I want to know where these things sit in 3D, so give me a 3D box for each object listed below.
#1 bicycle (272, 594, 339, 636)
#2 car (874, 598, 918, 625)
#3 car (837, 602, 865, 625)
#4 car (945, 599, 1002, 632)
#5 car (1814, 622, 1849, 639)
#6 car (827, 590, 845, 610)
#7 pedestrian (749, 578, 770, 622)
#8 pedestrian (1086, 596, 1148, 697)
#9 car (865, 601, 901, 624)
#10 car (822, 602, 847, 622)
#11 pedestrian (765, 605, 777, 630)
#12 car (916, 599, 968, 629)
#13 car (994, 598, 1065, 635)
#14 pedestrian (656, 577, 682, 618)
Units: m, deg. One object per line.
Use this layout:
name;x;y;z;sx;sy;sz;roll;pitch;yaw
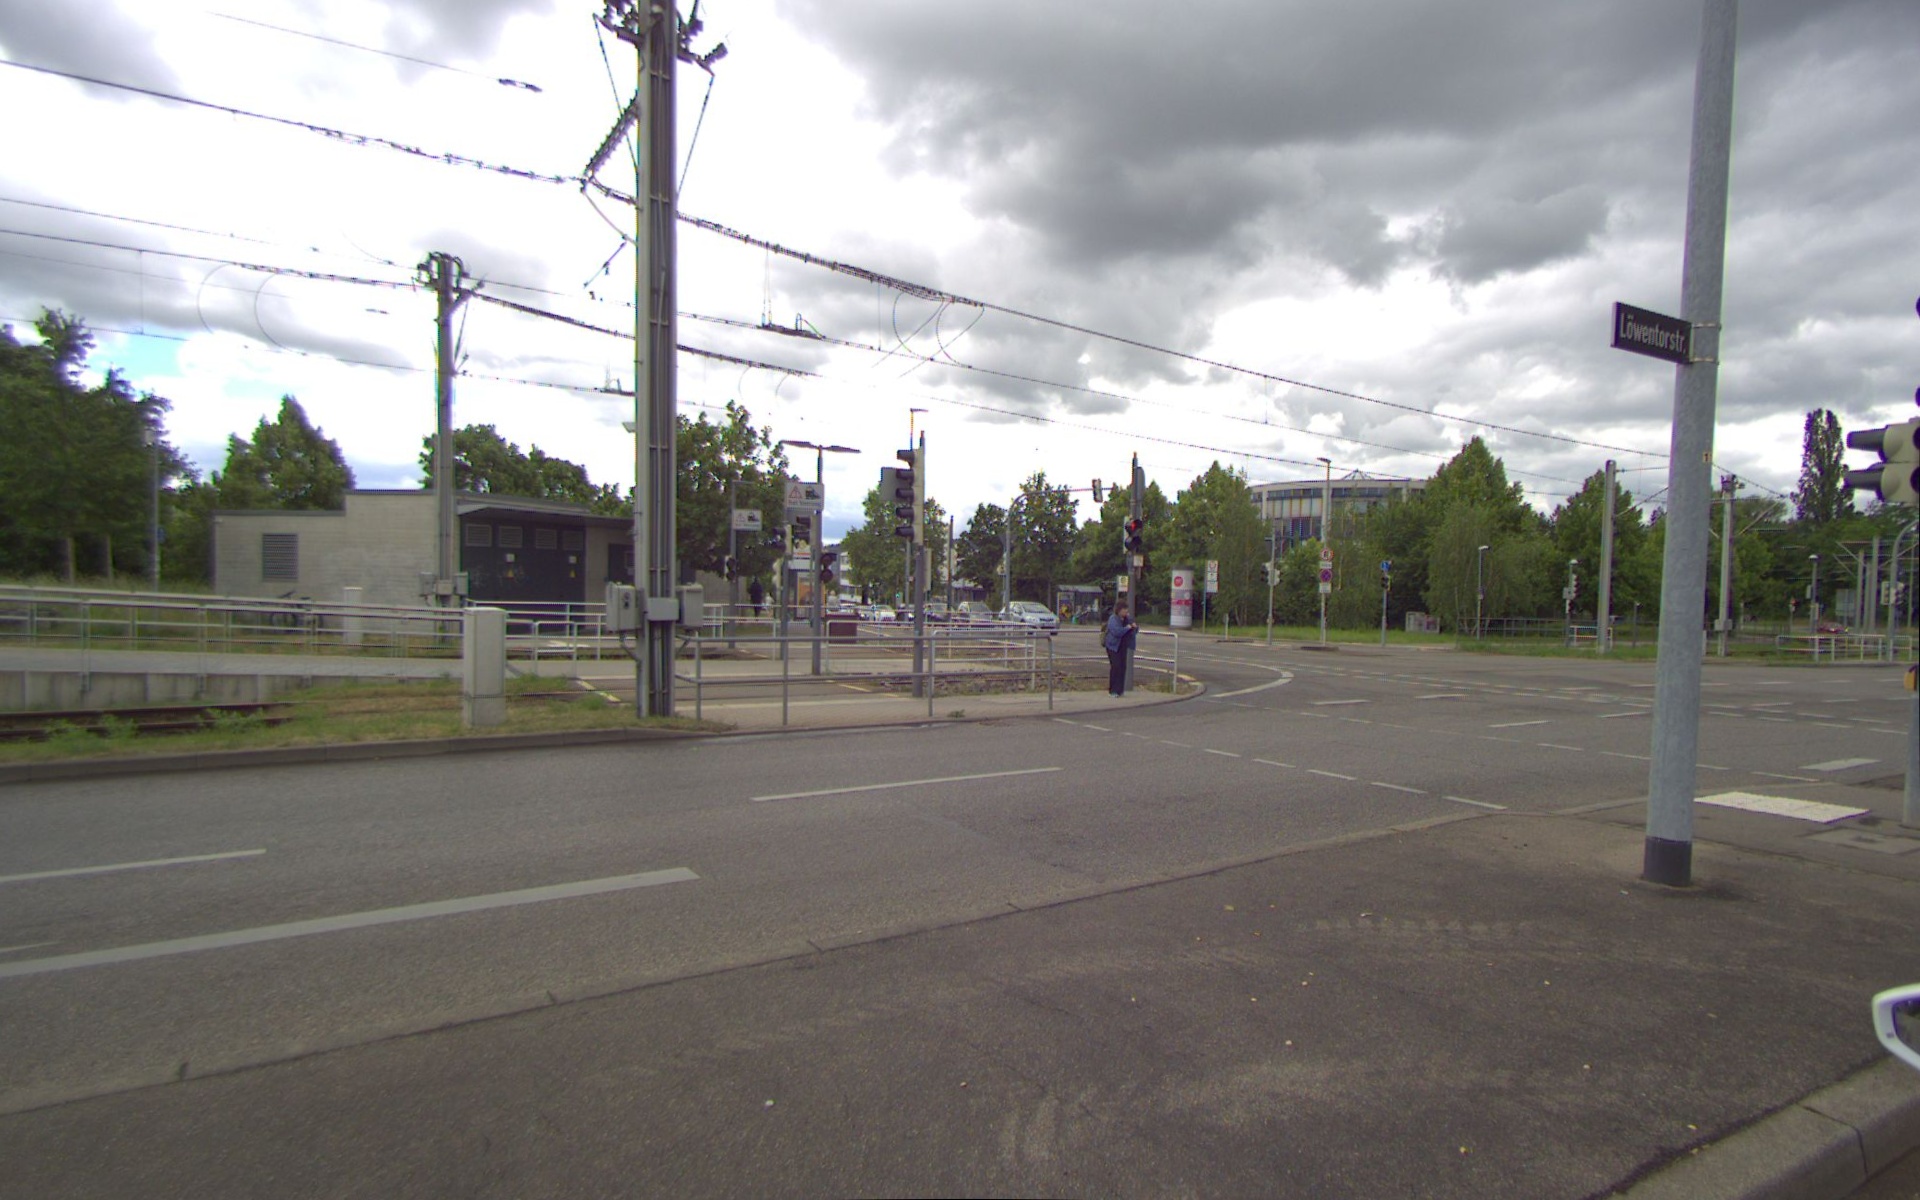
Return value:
bicycle;-17.382;0.395;26.667;1.778;1.045;0.536;2;0;21
car;-4.155;0.699;64.572;1.776;1.617;3.982;2;0;-20
car;-9.413;1.142;86.712;1.869;1.805;3.988;1;0;-14
car;0.662;0.795;53.862;1.776;1.617;3.982;2;0;-20
car;99.356;3.412;114.532;1.841;1.815;3.998;2;0;23
car;-14.619;-0.004;118.103;1.964;2.218;5.800;1;0;-9
pedestrian;-8.261;0.001;41.354;0.700;1.751;0.674;2;0;-19
pedestrian;2.504;0.731;16.017;0.712;1.557;0.630;2;0;-33
car;-5.770;0.927;74.895;1.775;1.617;3.985;2;0;-17
car;-11.771;1.100;94.108;1.869;1.805;3.990;1;0;-13
pedestrian;-11.964;1.101;63.460;0.633;1.557;0.521;2;0;-2
car;-1.069;0.762;58.036;1.776;1.617;3.982;2;0;-20
car;3.193;0.735;46.896;1.848;1.617;3.982;2;0;-20
pedestrian;-9.998;-0.074;34.536;0.590;1.377;0.616;2;0;18
